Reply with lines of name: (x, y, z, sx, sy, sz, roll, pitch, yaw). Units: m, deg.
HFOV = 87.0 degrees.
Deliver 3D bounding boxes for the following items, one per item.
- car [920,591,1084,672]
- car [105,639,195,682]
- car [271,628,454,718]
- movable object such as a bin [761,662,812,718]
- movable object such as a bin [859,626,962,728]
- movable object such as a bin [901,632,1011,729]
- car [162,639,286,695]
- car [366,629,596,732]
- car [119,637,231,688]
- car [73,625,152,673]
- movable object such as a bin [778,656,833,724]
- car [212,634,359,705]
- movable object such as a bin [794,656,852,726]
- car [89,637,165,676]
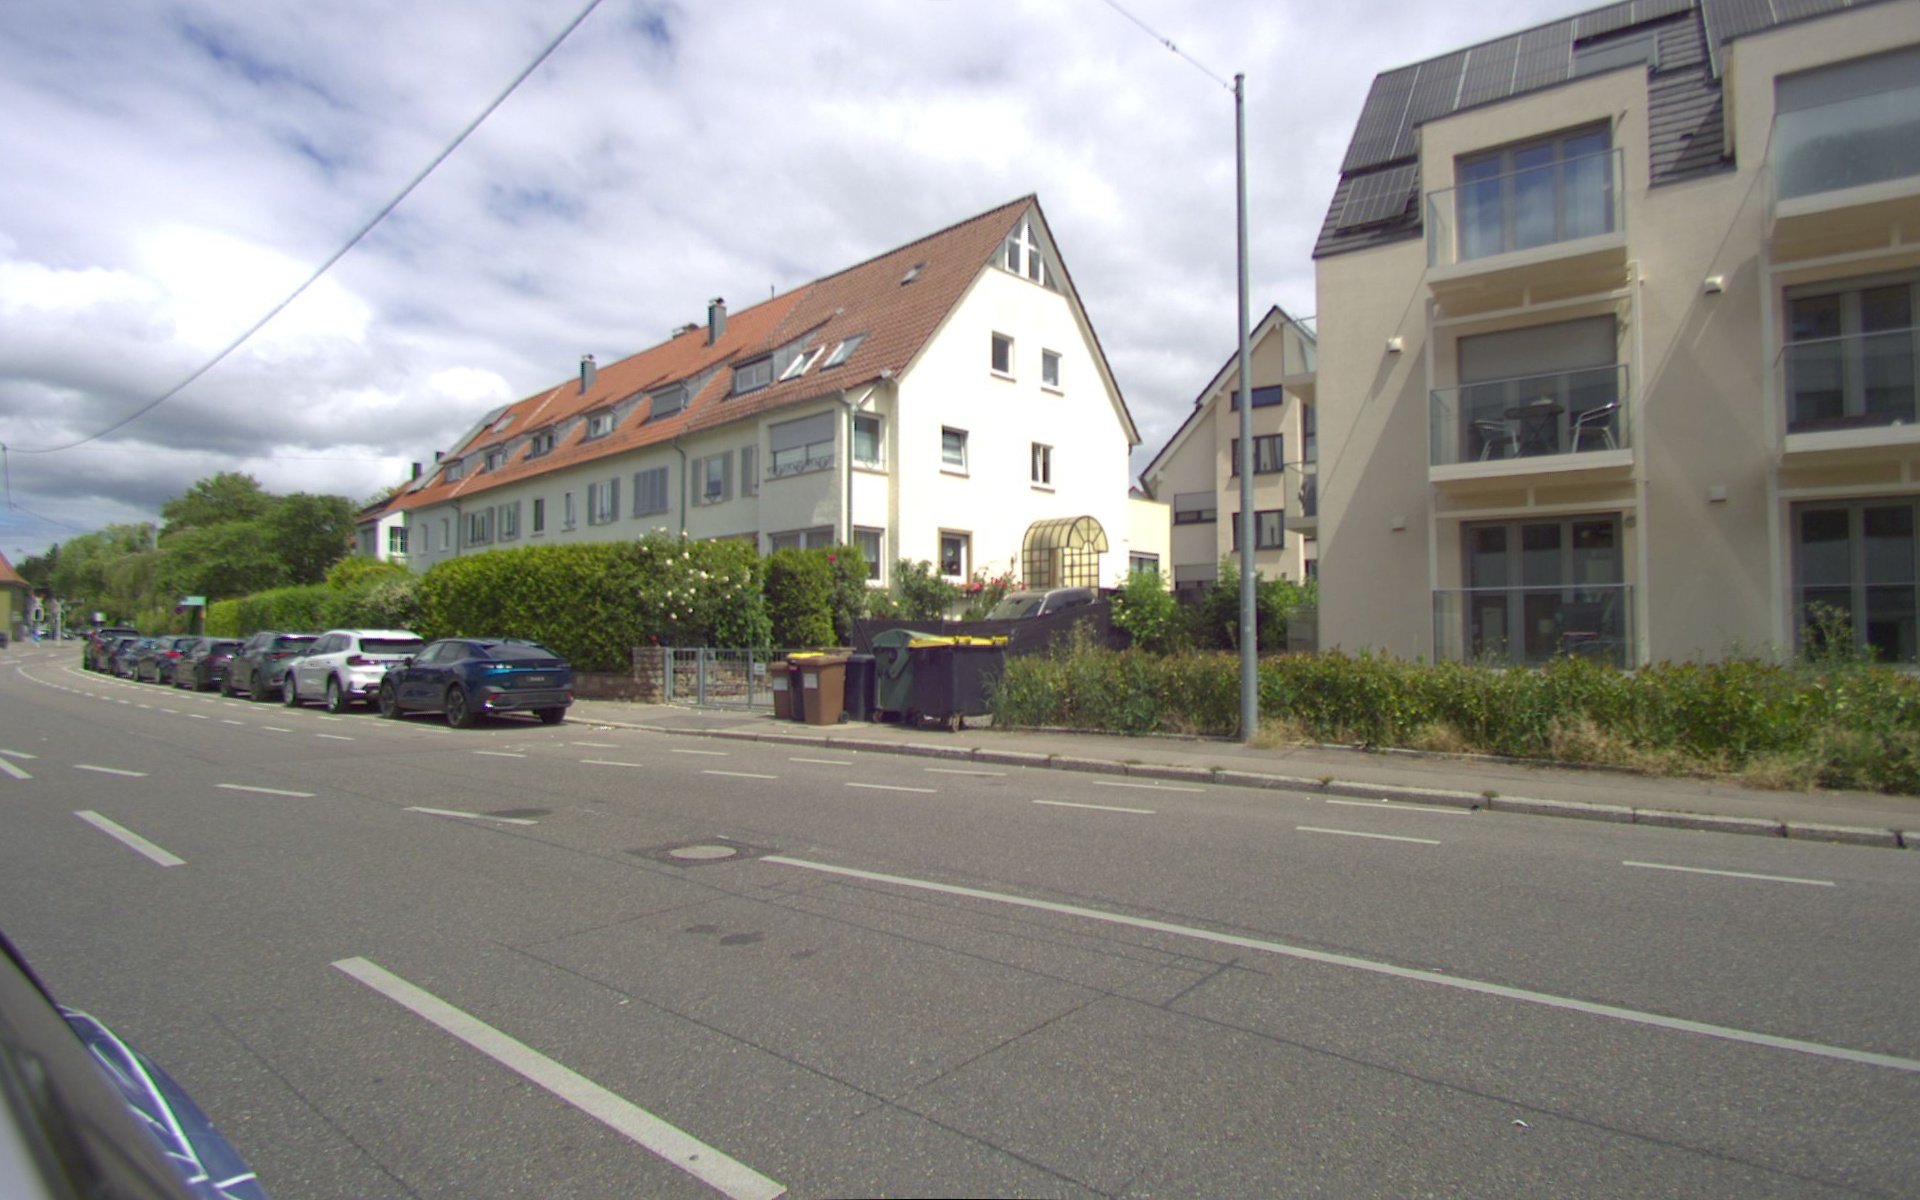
car: (1.053, 0.706, 23.623, 1.802, 1.719, 3.946, -2, -2, 40)
car: (-28.575, 2.082, 35.640, 4.439, 1.428, 1.759, -2, -3, 42)
car: (-12.484, 1.437, 21.033, 4.515, 1.663, 1.972, -2, -3, 41)
movable object such as a bin: (-2.861, 1.470, 16.689, 0.614, 0.886, 0.589, -2, -3, 41)
movable object such as a bin: (-0.771, 1.167, 15.777, 1.213, 1.493, 1.054, -2, -3, 39)
movable object such as a bin: (-0.064, 1.135, 14.689, 1.214, 1.323, 1.053, -2, -3, 43)
car: (-20.679, 1.802, 28.351, 4.690, 1.419, 1.971, -2, -3, 43)
car: (-8.568, 1.324, 17.954, 4.485, 1.599, 1.973, -2, -3, 40)
car: (-24.781, 1.919, 31.897, 4.561, 1.503, 1.760, -2, -3, 39)
car: (-36.144, 2.070, 43.107, 5.405, 1.909, 1.971, -2, -5, 44)
movable object such as a bin: (-2.467, 1.427, 16.144, 0.658, 1.032, 0.589, -2, -3, 41)
car: (-16.525, 1.616, 24.690, 4.690, 1.576, 1.971, -2, -3, 43)
movable object such as a bin: (-2.103, 1.381, 15.543, 0.658, 1.015, 0.589, -2, -3, 41)
car: (-32.398, 2.166, 39.318, 4.340, 1.428, 1.758, -2, -3, 44)
